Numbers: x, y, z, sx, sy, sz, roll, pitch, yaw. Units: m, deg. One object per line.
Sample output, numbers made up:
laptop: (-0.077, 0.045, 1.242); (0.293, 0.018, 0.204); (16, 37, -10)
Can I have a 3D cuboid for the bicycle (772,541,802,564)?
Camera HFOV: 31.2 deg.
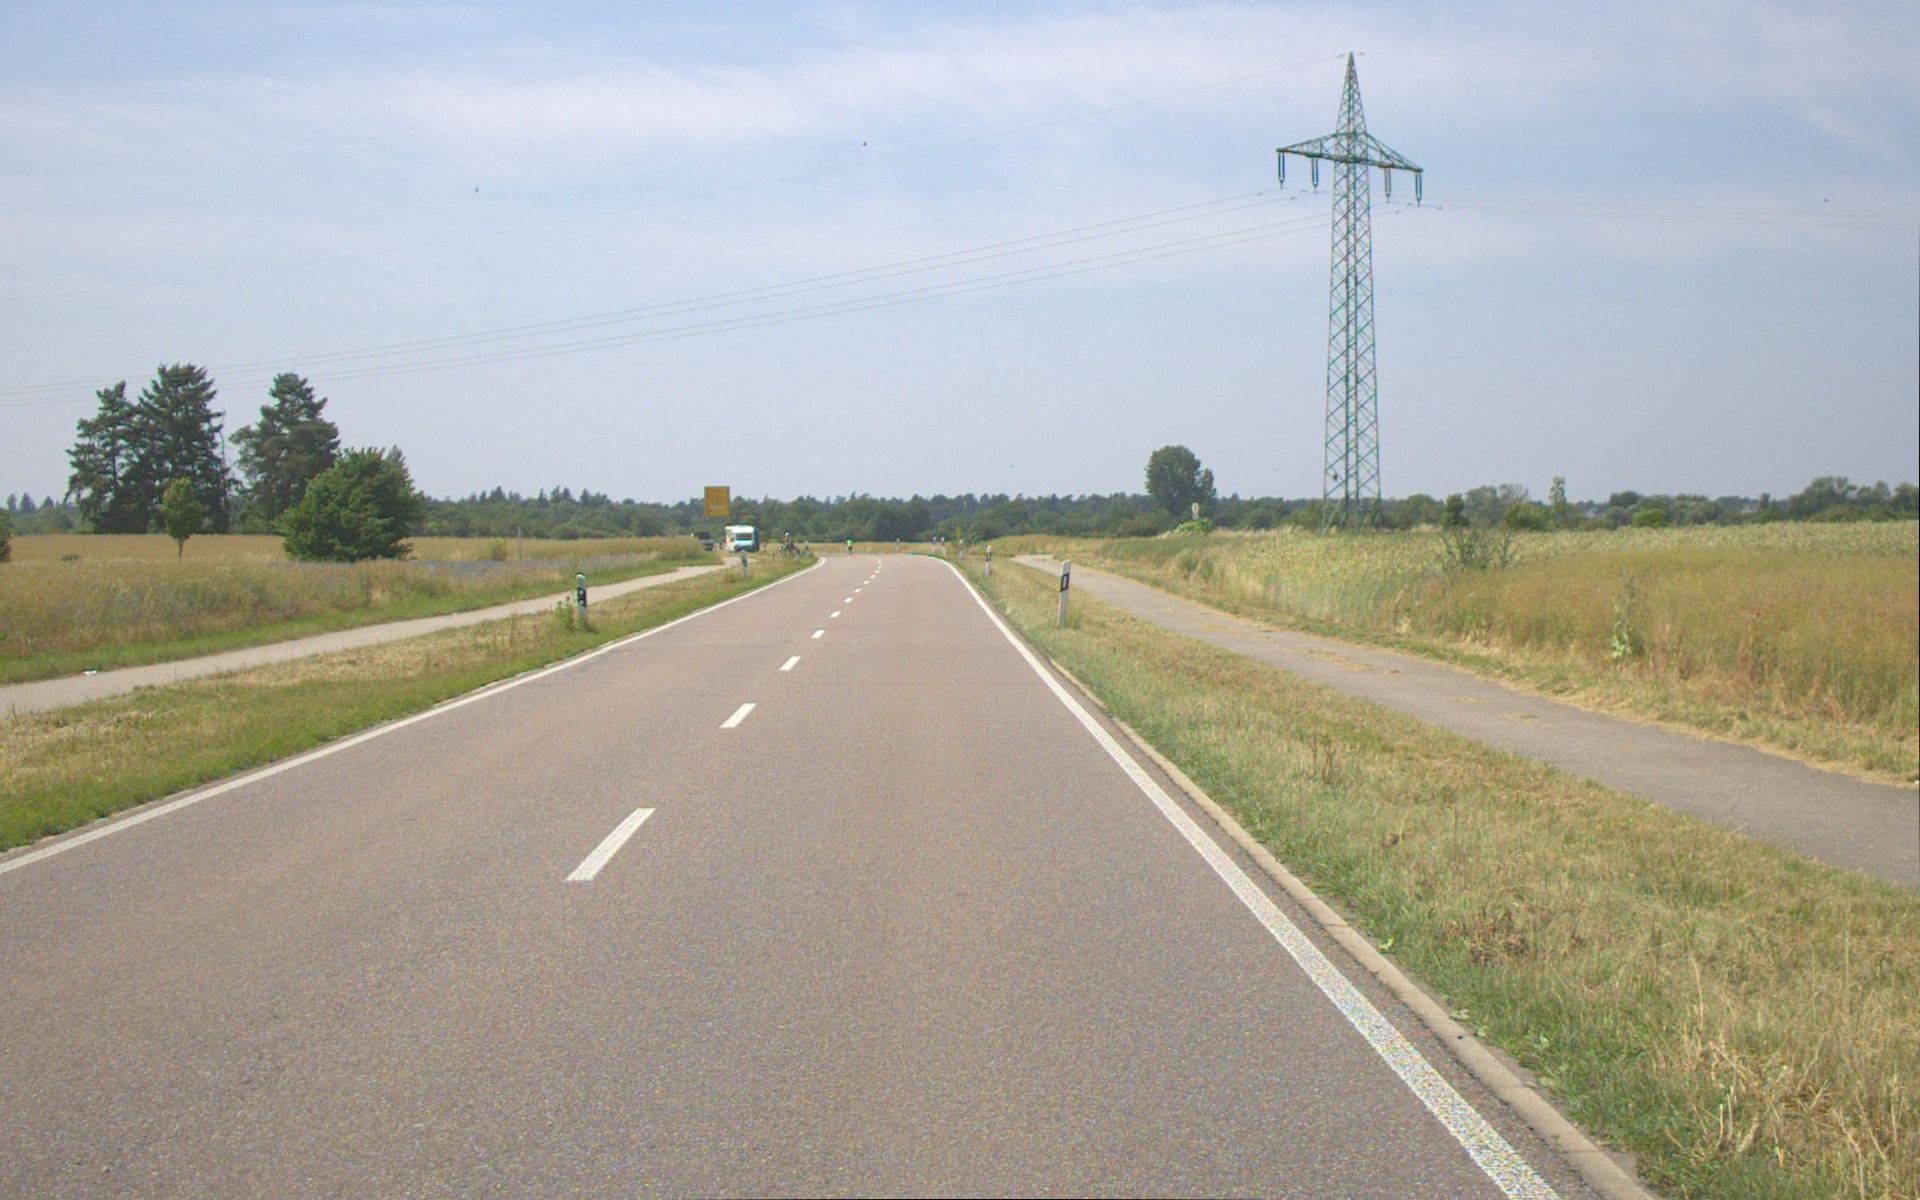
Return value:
bicycle: (-9.410, -2.599, 186.828); (0.763, 1.224, 2.213); (-1, 1, 21)
